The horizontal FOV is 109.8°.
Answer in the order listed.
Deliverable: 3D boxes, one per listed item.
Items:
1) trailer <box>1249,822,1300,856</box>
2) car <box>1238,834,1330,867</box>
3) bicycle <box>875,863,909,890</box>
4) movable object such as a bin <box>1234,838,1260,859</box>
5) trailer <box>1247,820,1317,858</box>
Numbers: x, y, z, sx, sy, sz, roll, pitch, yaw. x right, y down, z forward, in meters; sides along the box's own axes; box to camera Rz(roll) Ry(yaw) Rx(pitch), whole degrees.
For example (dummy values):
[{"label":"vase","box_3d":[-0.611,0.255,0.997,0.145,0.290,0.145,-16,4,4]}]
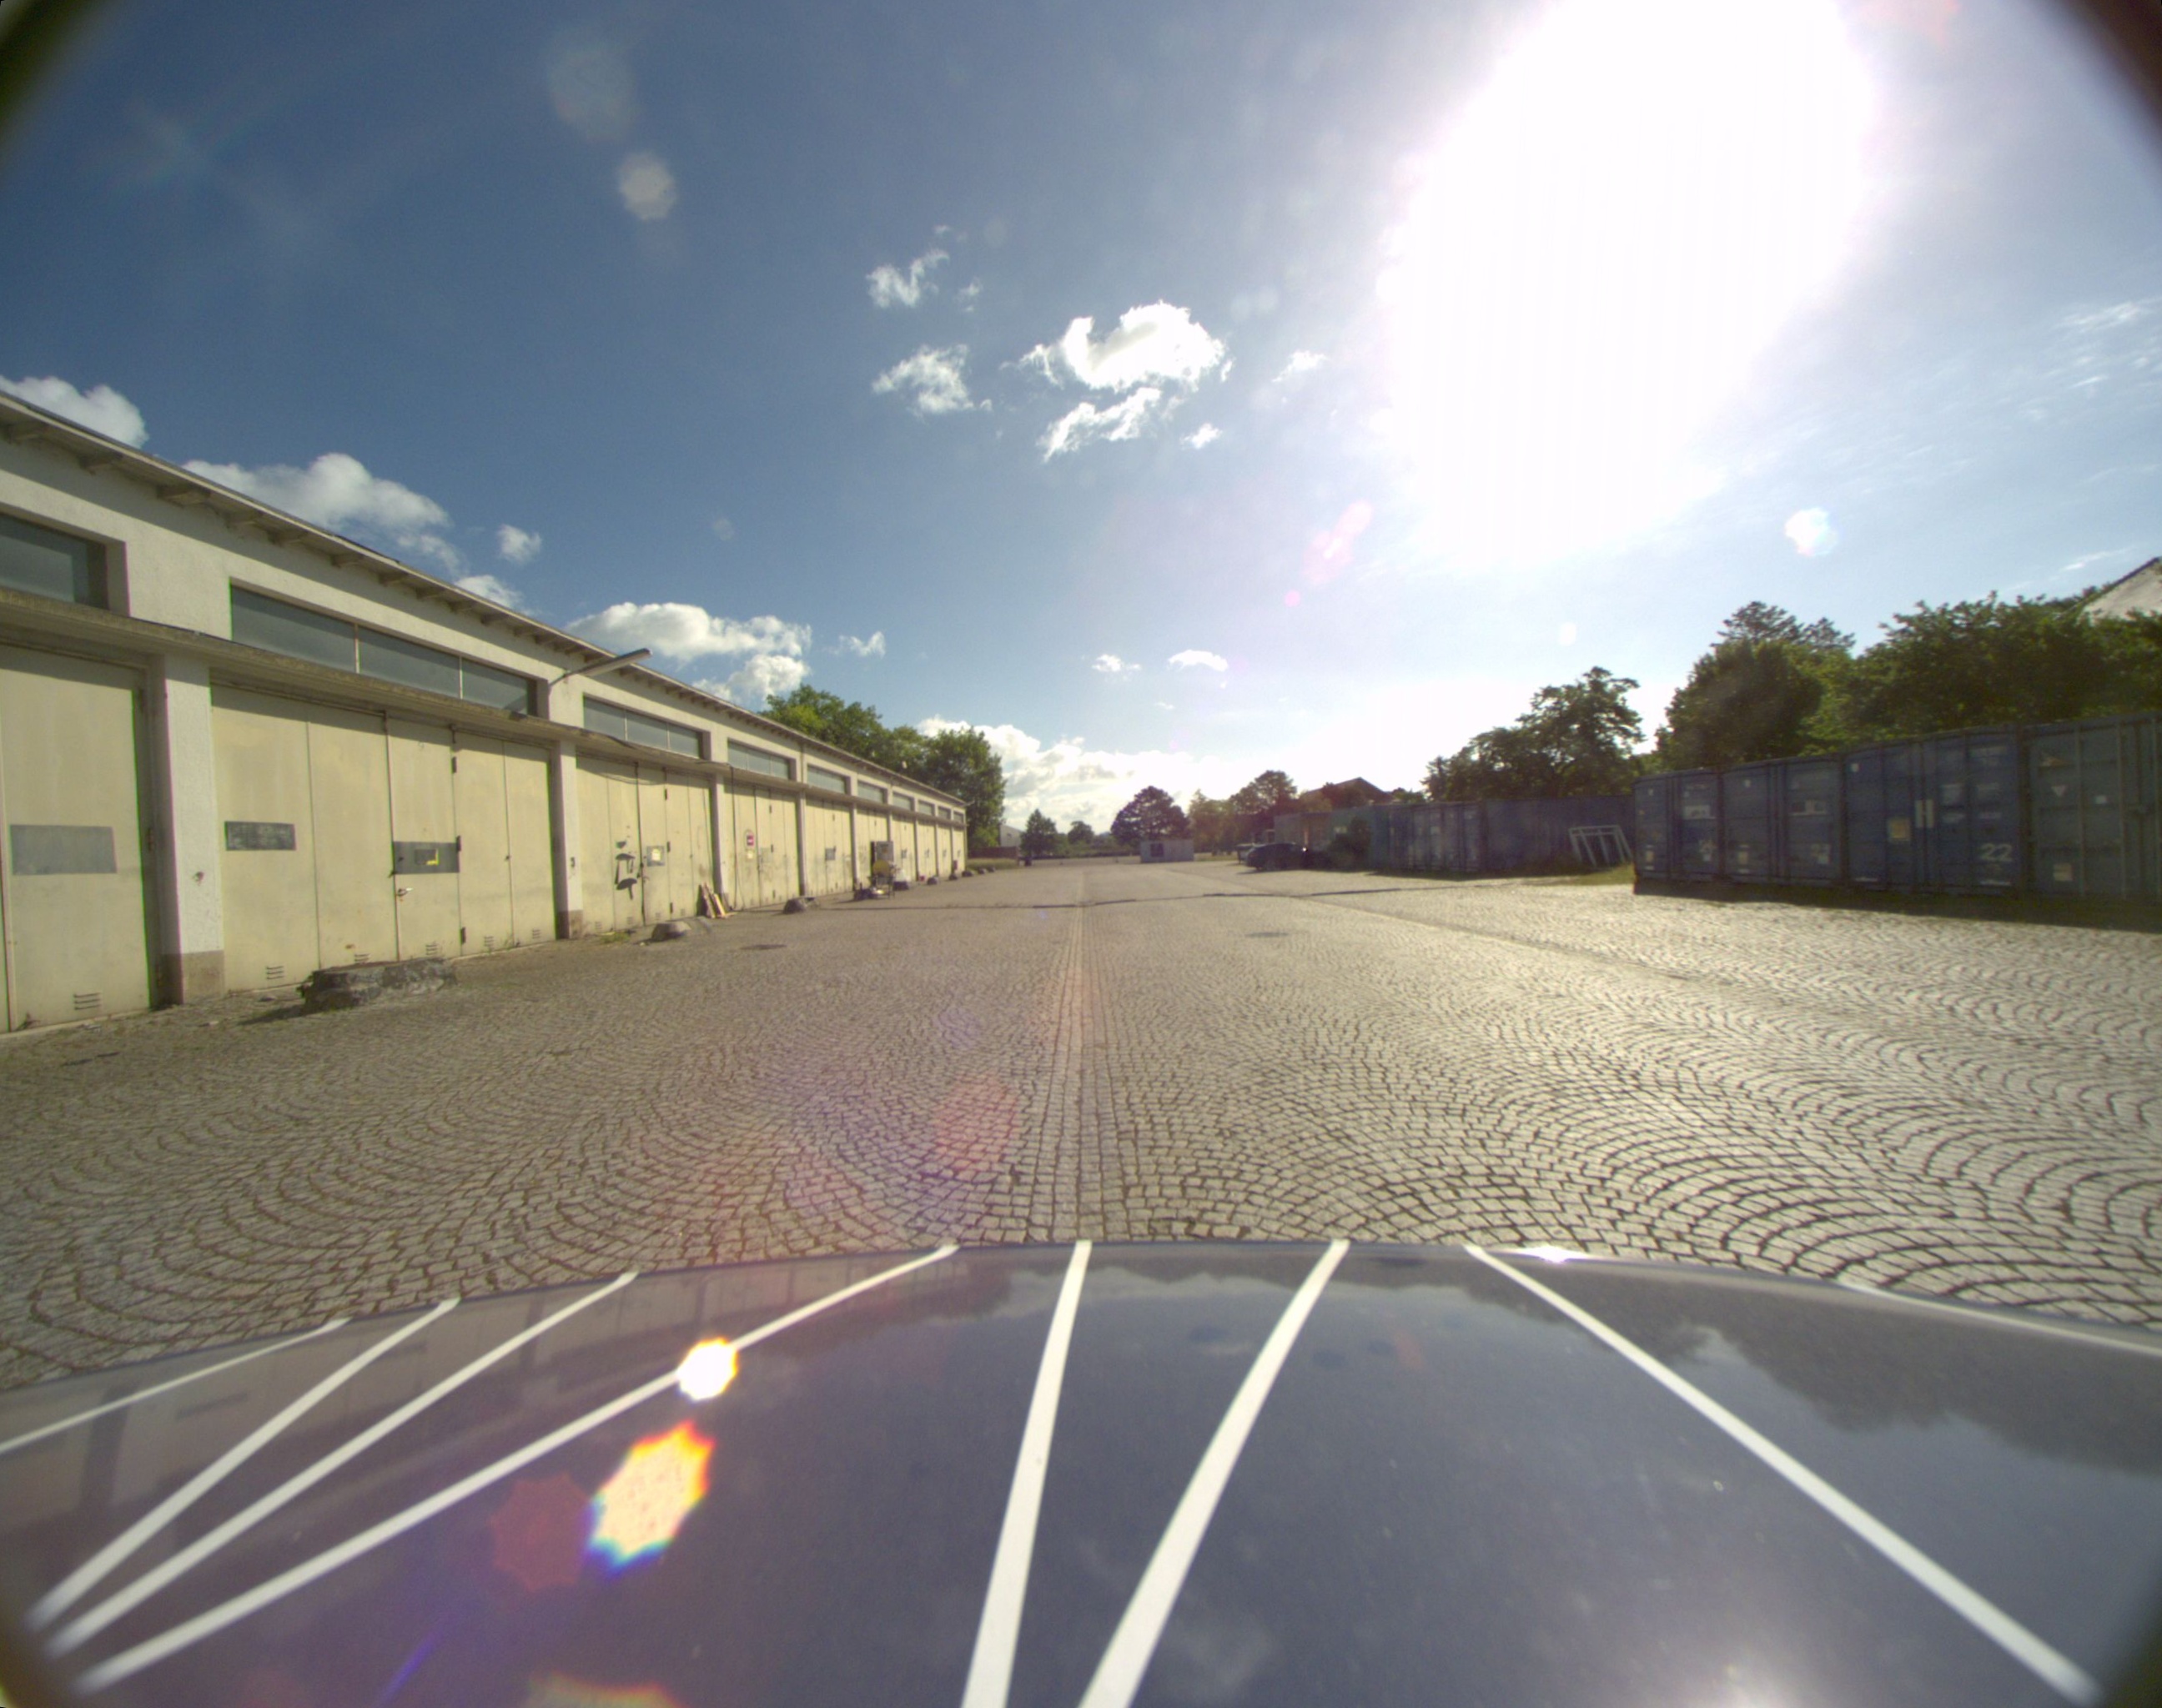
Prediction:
[{"label":"trailer","box_3d":[15.263,-1.186,60.161,3.393,2.456,2.044,-3,2,1]},{"label":"car","box_3d":[10.684,-0.197,40.192,4.263,1.441,1.930,-4,1,-2]},{"label":"bicycle","box_3d":[-8.503,0.987,34.220,0.665,1.062,1.825,-3,1,12]},{"label":"movable object such as a bin","box_3d":[12.356,-0.379,56.576,1.435,1.450,1.158,-2,2,43]},{"label":"trailer","box_3d":[15.236,-1.131,57.712,4.649,2.553,1.950,-4,2,-4]}]
